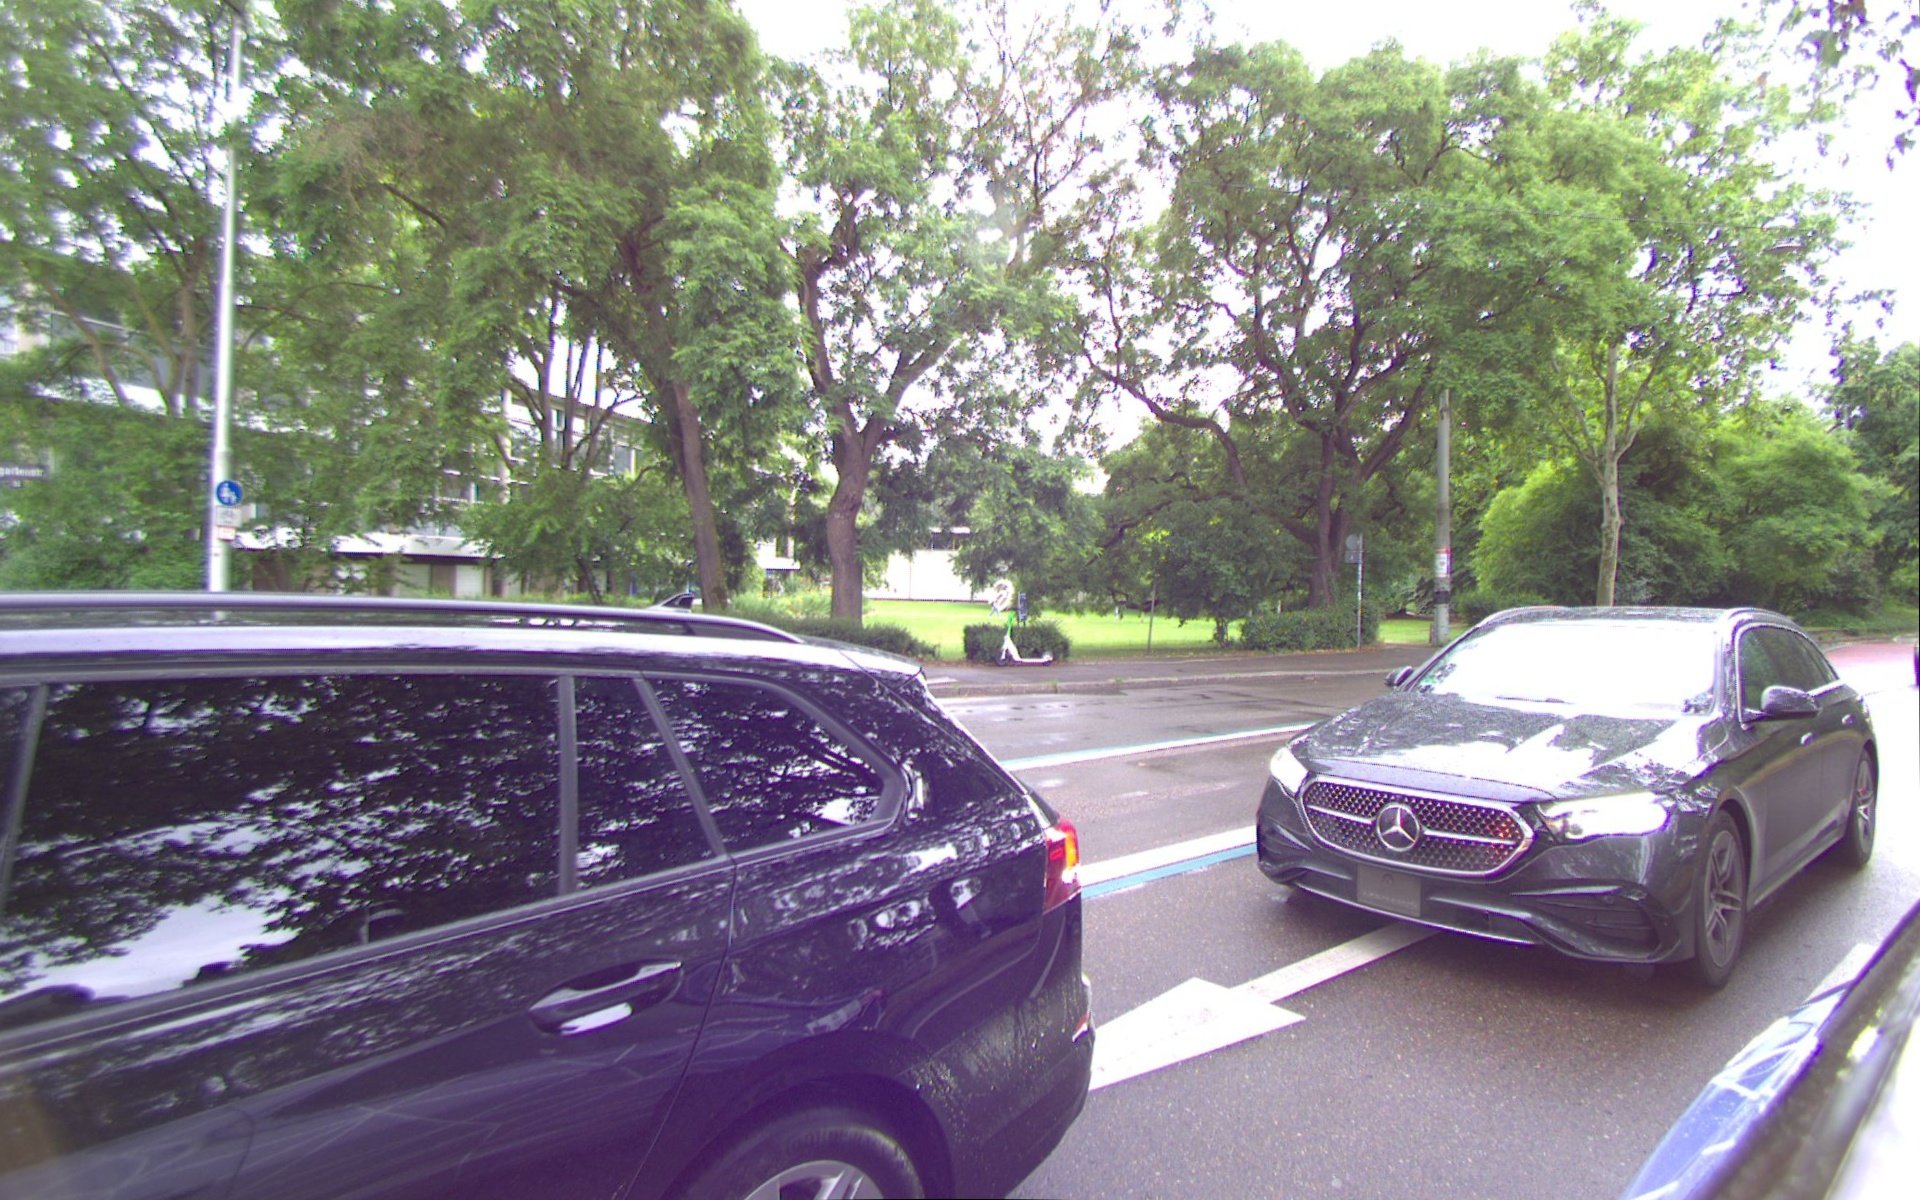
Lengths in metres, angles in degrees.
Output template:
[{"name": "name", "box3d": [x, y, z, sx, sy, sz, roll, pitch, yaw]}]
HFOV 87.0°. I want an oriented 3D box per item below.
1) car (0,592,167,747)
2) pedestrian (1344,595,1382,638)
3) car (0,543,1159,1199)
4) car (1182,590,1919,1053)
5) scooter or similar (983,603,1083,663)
[{"name": "car", "box3d": [-10.830, 0.645, 10.005, 4.311, 1.468, 1.872, 0, 0, -19]}, {"name": "pedestrian", "box3d": [15.702, 0.638, 39.458, 1.038, 1.626, 1.071, -1, 0, 1]}, {"name": "car", "box3d": [-1.742, 0.670, 1.416, 4.435, 1.484, 1.672, 1, 0, -43]}, {"name": "car", "box3d": [3.498, 0.707, 5.466, 4.841, 1.464, 1.884, 0, -1, -39]}, {"name": "scooter or similar", "box3d": [1.441, 0.652, 19.975, 1.851, 1.114, 0.559, 2, 2, -19]}]
